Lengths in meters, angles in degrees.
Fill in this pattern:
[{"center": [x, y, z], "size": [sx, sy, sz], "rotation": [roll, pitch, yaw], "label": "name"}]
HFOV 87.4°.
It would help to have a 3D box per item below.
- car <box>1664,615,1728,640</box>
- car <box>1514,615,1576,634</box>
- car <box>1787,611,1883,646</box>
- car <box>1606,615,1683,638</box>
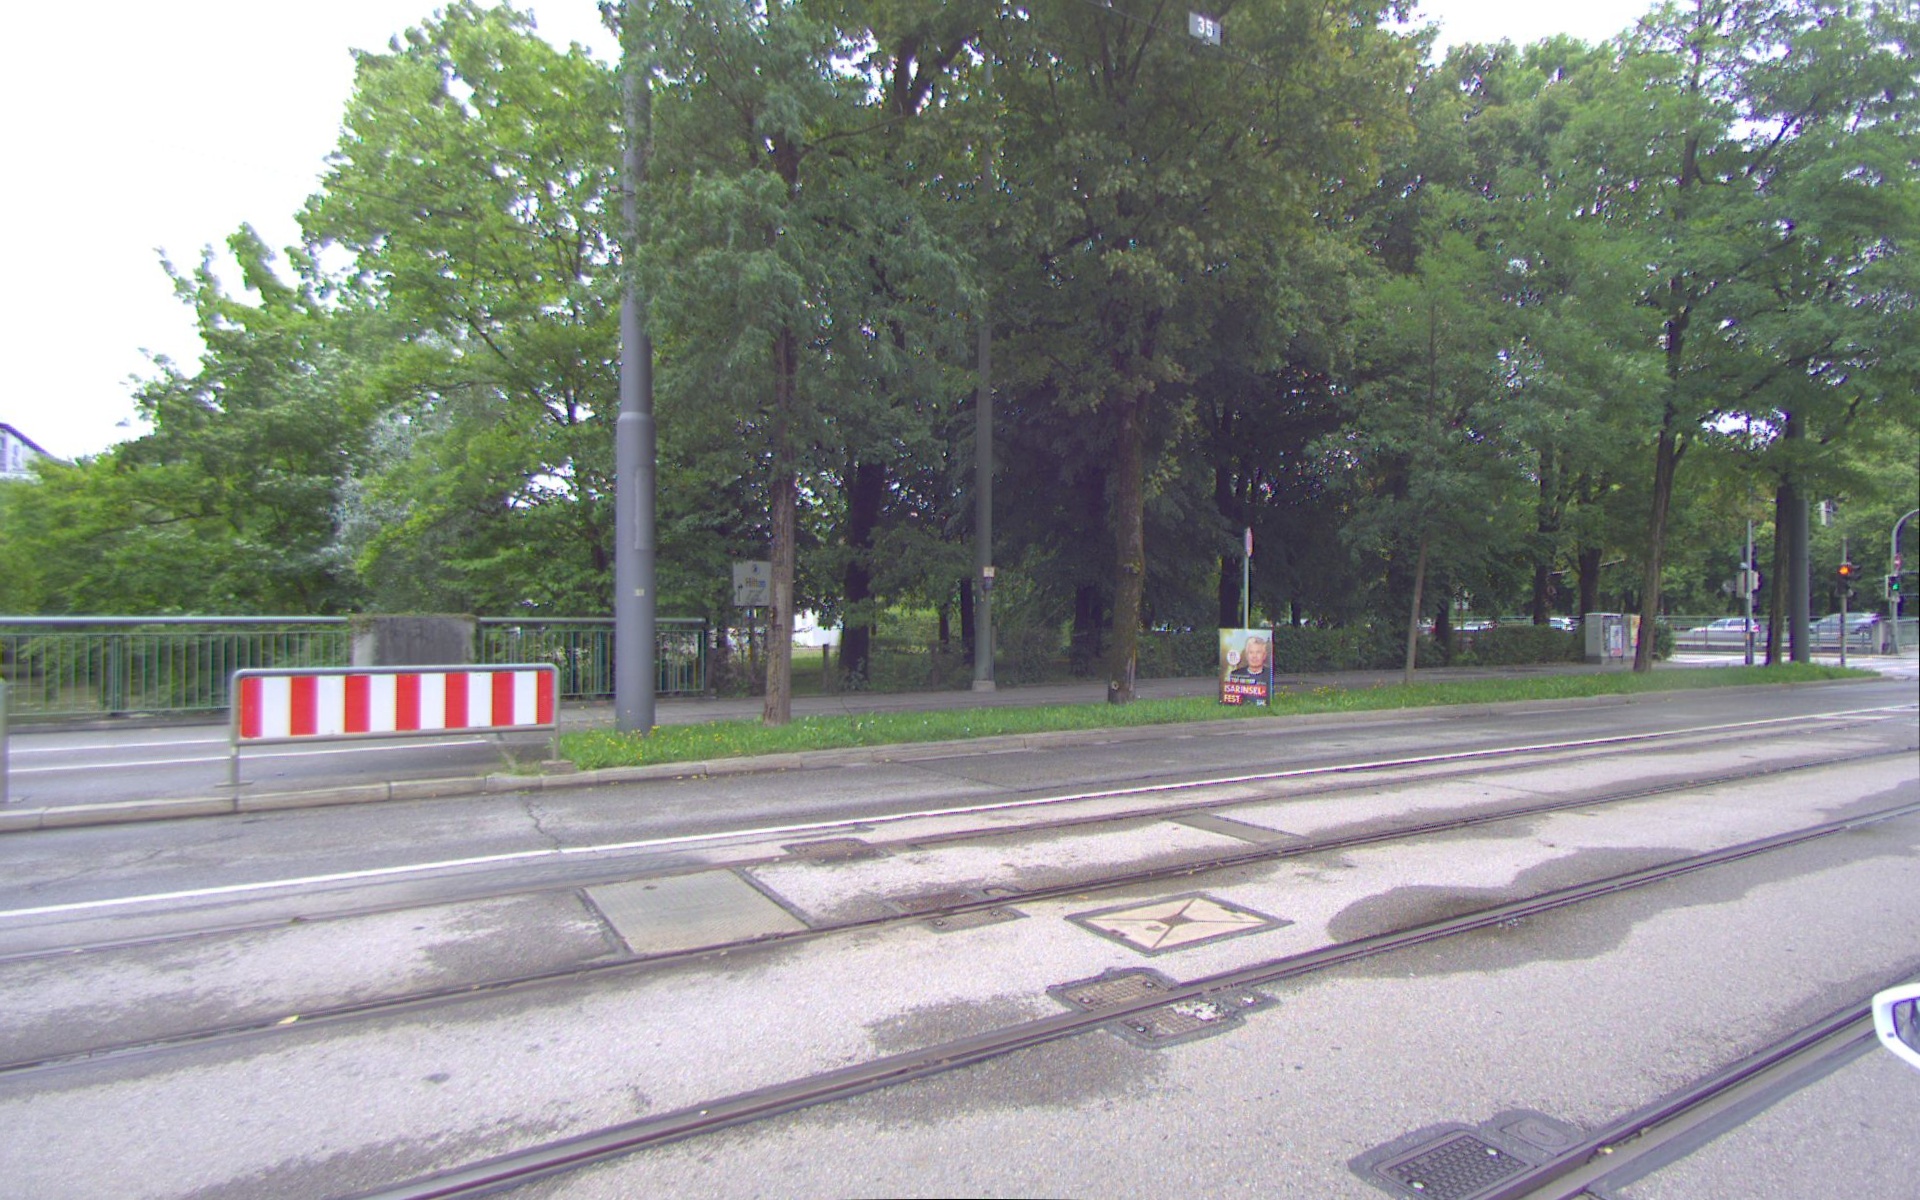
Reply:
[{"center": [47.591, 1.787, 64.955], "size": [1.238, 1.471, 3.090], "rotation": [1, 1, -34], "label": "car"}, {"center": [42.519, 1.785, 73.045], "size": [1.238, 1.201, 3.704], "rotation": [1, 1, -34], "label": "car"}, {"center": [51.493, 1.645, 59.156], "size": [1.476, 1.912, 3.994], "rotation": [1, 1, -36], "label": "car"}, {"center": [46.001, 1.763, 67.589], "size": [1.703, 1.423, 3.900], "rotation": [1, 1, -34], "label": "car"}]
